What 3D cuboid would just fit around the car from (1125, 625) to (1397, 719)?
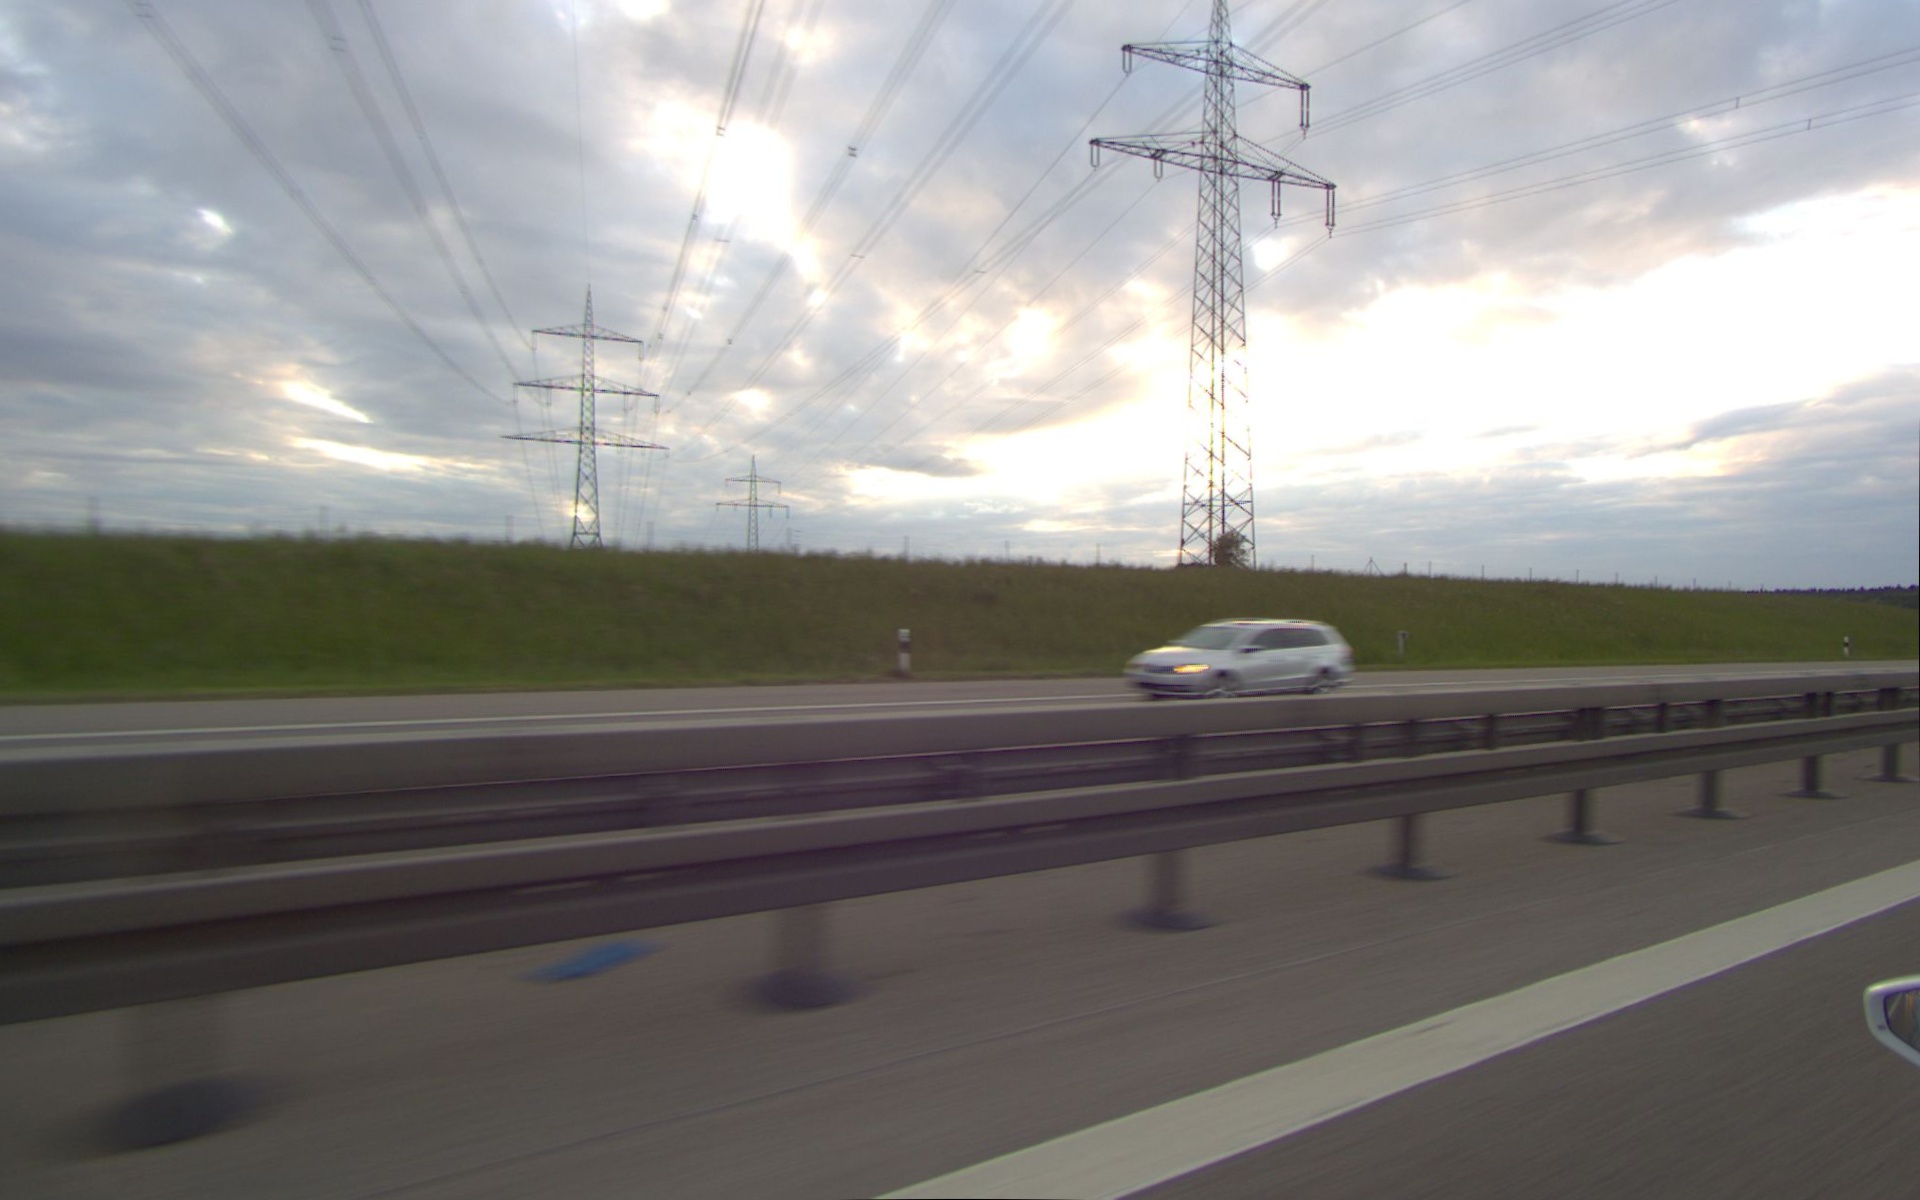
[{"bbox_3d":[5.707,1.264,18.780,5.271,1.502,1.756,1,1,-30],"label":"car"}]
